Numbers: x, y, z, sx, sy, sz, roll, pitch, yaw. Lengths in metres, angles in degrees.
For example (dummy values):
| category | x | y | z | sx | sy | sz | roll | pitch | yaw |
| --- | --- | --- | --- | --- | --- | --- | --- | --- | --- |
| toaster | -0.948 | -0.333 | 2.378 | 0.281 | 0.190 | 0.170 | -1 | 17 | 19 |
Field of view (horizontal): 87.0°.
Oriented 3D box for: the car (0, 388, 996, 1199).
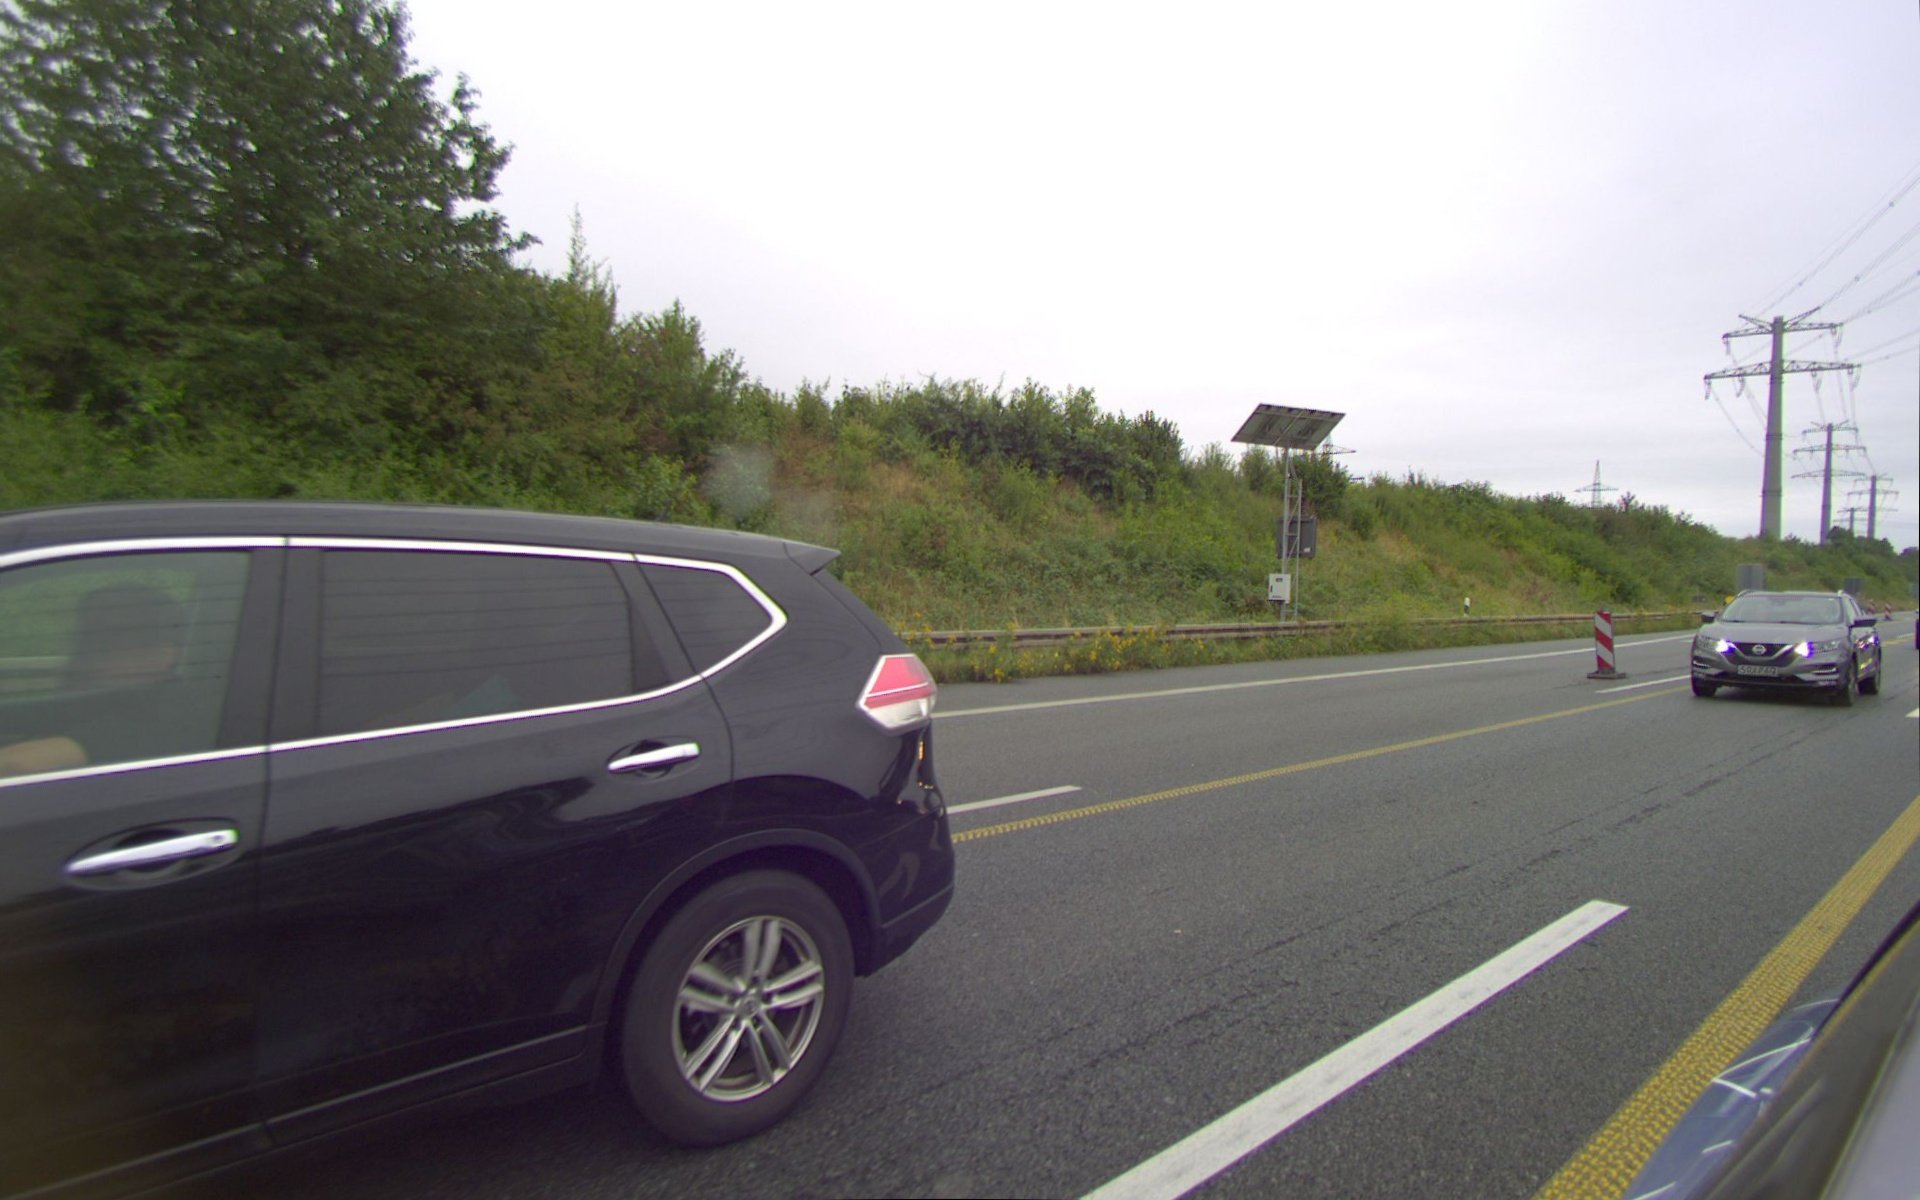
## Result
| category | x | y | z | sx | sy | sz | roll | pitch | yaw |
| --- | --- | --- | --- | --- | --- | --- | --- | --- | --- |
| car | -2.002 | 0.478 | 2.423 | 4.207 | 1.679 | 1.687 | 0 | 1 | -42 |

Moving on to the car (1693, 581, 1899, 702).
| category | x | y | z | sx | sy | sz | roll | pitch | yaw |
| --- | --- | --- | --- | --- | --- | --- | --- | --- | --- |
| car | 12.497 | 0.512 | 15.040 | 4.079 | 1.552 | 1.802 | 0 | 1 | -42 |
